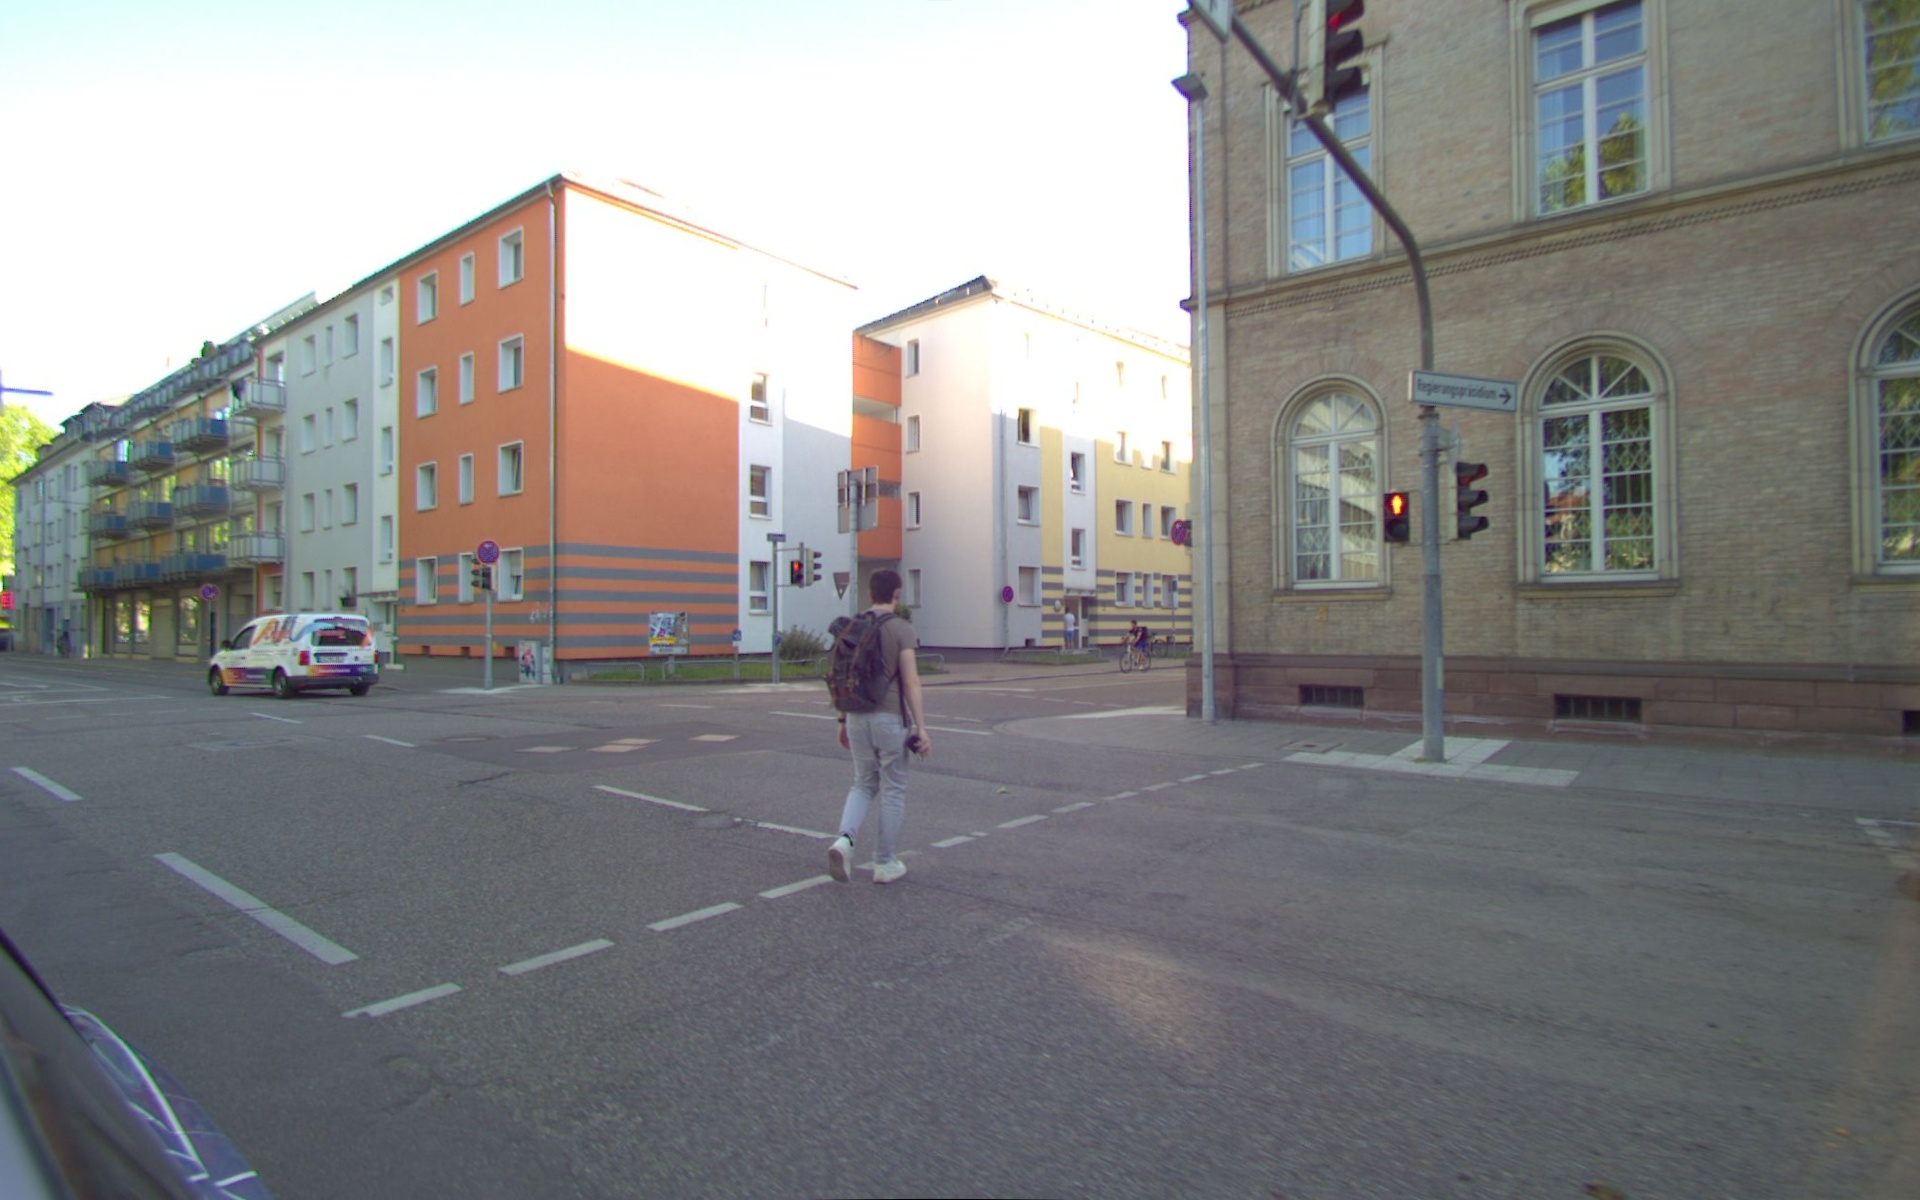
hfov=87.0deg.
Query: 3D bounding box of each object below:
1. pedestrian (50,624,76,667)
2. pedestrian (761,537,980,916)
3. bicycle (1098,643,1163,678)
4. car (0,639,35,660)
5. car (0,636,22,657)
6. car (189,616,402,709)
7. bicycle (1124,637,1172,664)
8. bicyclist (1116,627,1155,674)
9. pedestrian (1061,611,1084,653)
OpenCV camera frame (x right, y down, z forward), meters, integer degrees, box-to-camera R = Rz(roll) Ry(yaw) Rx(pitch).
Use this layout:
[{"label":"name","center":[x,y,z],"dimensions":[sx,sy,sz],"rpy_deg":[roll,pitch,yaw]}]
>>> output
[{"label":"pedestrian","center":[-51.195,2.576,57.758],"dimensions":[1.087,2.415,0.902],"rpy_deg":[-2,-3,39]},{"label":"pedestrian","center":[-0.477,0.610,5.350],"dimensions":[0.870,1.785,0.749],"rpy_deg":[1,-3,-41]},{"label":"bicycle","center":[5.165,1.824,30.583],"dimensions":[1.960,1.007,0.791],"rpy_deg":[2,-6,-38]},{"label":"car","center":[-77.288,3.982,81.513],"dimensions":[1.832,1.712,3.946],"rpy_deg":[-2,-3,41]},{"label":"car","center":[-81.406,3.905,84.762],"dimensions":[1.832,1.712,3.946],"rpy_deg":[-2,-3,41]},{"label":"car","center":[-14.957,1.347,22.699],"dimensions":[5.108,1.830,1.978],"rpy_deg":[0,-3,32]},{"label":"bicycle","center":[7.105,1.915,38.306],"dimensions":[1.755,1.000,0.534],"rpy_deg":[-1,-2,36]},{"label":"bicyclist","center":[5.331,1.547,30.730],"dimensions":[0.825,1.383,0.793],"rpy_deg":[4,-6,-38]},{"label":"pedestrian","center":[4.044,1.156,36.378],"dimensions":[0.590,1.472,0.562],"rpy_deg":[2,-3,-43]}]
